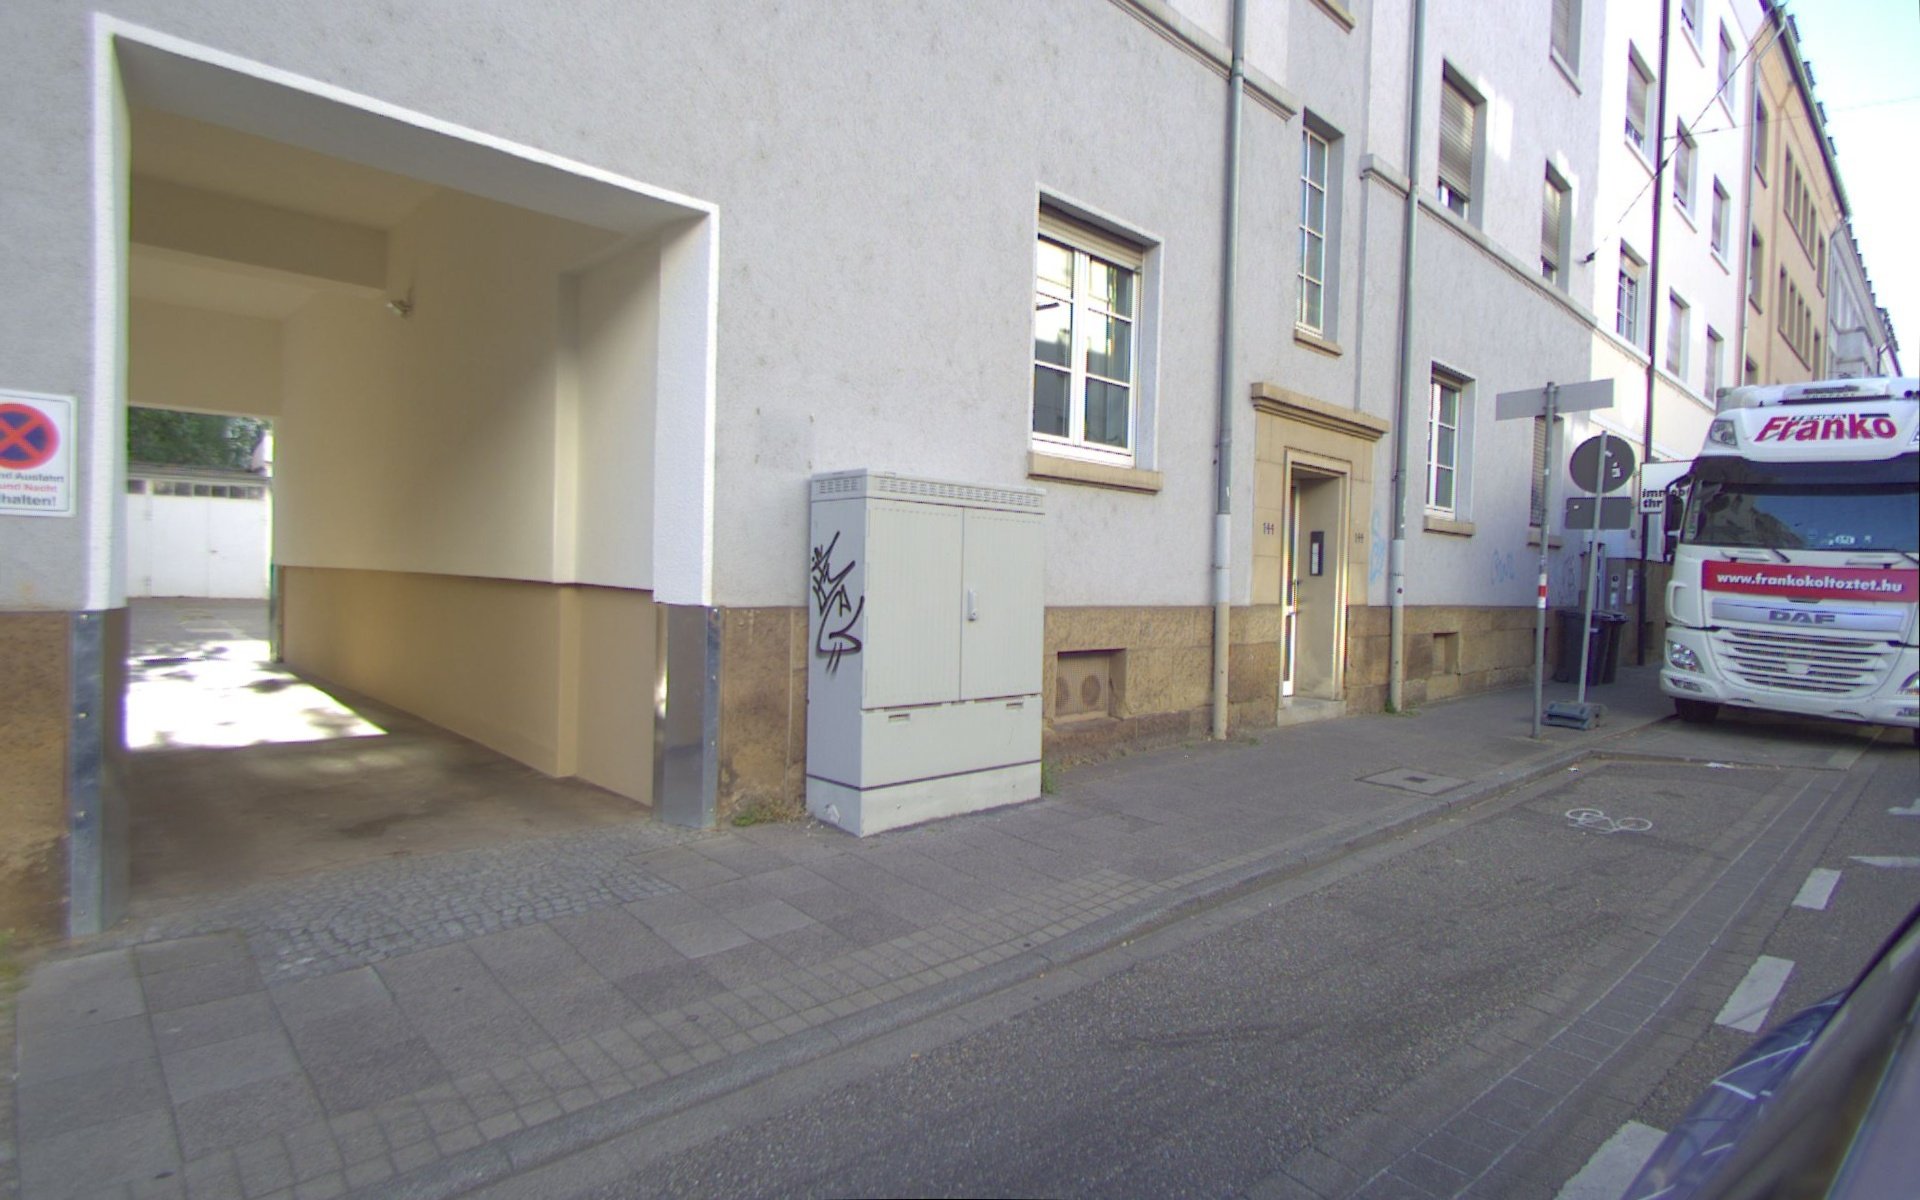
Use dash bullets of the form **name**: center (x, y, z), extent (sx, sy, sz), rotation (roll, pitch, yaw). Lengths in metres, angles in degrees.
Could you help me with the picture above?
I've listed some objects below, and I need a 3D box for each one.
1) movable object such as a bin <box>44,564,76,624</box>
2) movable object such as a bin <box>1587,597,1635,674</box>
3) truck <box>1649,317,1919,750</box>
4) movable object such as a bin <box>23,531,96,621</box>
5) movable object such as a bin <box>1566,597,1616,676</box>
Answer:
- **movable object such as a bin**: center (-14.282, -0.107, 16.061), extent (0.366, 0.919, 0.420), rotation (0, 3, -44)
- **movable object such as a bin**: center (9.599, 0.506, 14.924), extent (0.511, 1.106, 0.488), rotation (0, 0, 45)
- **truck**: center (12.590, -0.610, 13.857), extent (11.511, 4.012, 2.894), rotation (0, 0, -44)
- **movable object such as a bin**: center (-14.718, -0.404, 16.540), extent (0.874, 1.409, 0.758), rotation (0, 4, -44)
- **movable object such as a bin**: center (9.095, 0.517, 14.582), extent (0.511, 1.106, 0.488), rotation (0, 0, 45)
